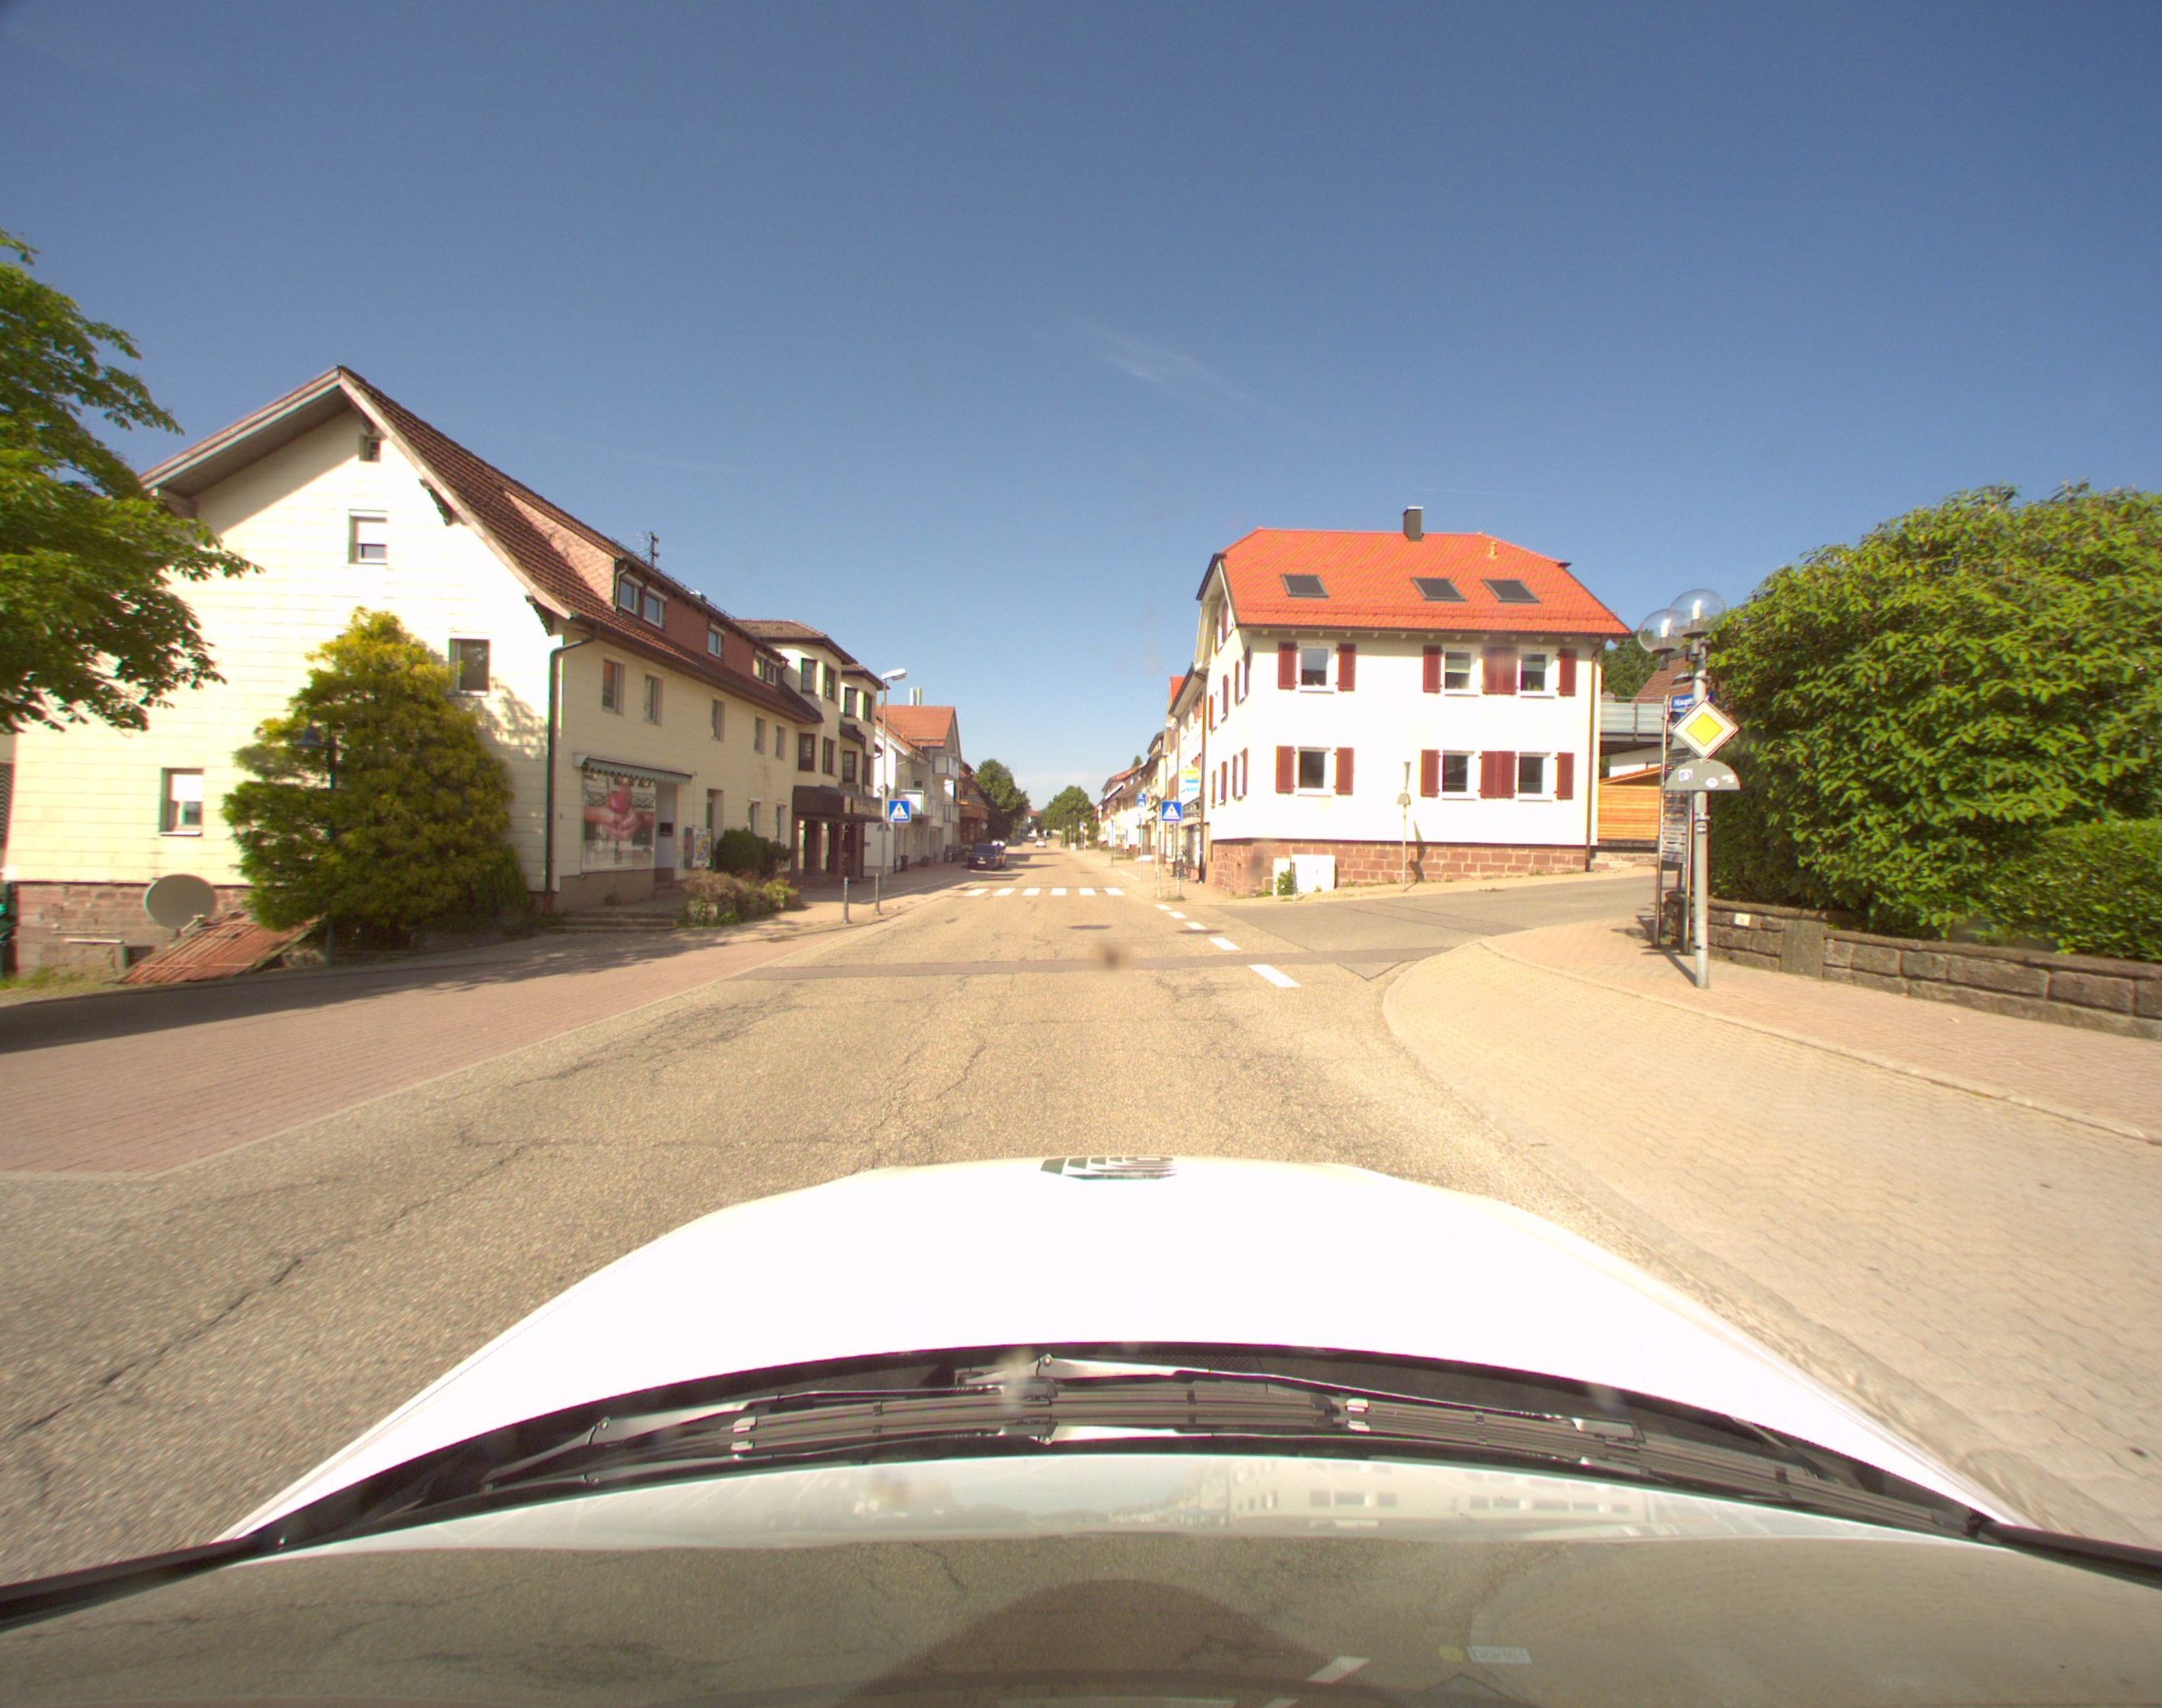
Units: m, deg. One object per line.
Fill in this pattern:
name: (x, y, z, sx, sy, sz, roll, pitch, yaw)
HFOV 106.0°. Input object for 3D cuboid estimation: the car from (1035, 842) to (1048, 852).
car: (-7.799, -1.365, 163.031, 2.489, 2.013, 4.300, -2, 0, -3)

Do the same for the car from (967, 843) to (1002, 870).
car: (-6.089, 0.142, 51.836, 1.667, 1.533, 3.535, 4, 0, 0)

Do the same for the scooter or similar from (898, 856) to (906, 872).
scooter or similar: (-10.127, 0.551, 46.119, 0.351, 0.890, 0.394, -2, 0, -6)
